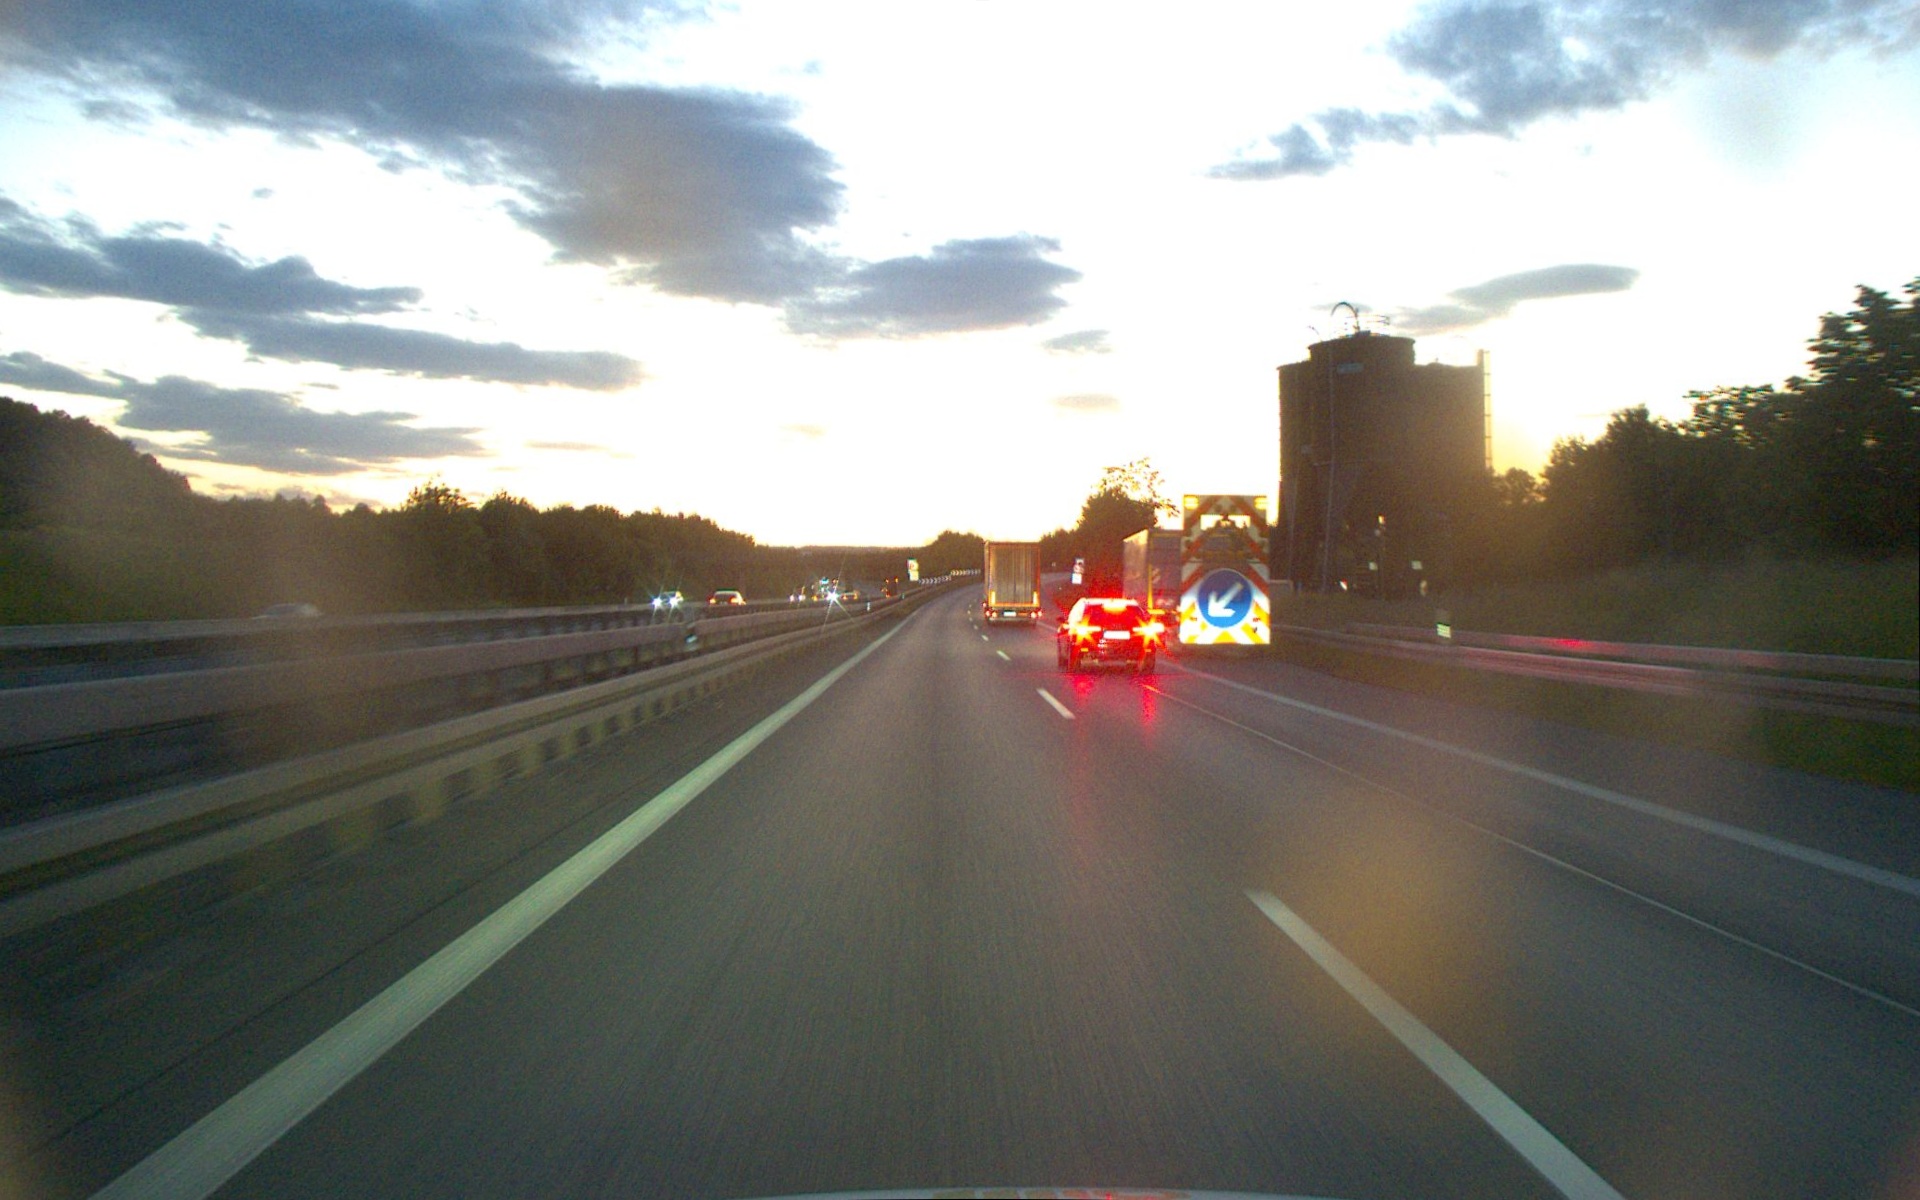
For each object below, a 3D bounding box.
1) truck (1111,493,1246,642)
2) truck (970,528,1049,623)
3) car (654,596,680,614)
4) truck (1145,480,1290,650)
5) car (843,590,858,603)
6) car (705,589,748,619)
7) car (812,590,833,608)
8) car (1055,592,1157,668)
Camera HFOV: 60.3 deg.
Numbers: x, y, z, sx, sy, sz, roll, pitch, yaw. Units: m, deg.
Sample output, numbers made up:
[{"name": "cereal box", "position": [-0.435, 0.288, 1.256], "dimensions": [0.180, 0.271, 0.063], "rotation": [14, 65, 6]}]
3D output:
[{"name": "truck", "position": [6.598, -0.948, 51.317], "dimensions": [2.854, 4.183, 9.148], "rotation": [0, 0, -1]}, {"name": "truck", "position": [2.386, -1.175, 83.778], "dimensions": [3.439, 4.376, 9.889], "rotation": [-2, 0, -1]}, {"name": "car", "position": [-26.045, 0.422, 147.036], "dimensions": [1.634, 1.520, 3.673], "rotation": [0, 0, -1]}, {"name": "truck", "position": [6.648, -0.876, 43.537], "dimensions": [2.731, 4.129, 6.410], "rotation": [0, 0, -1]}, {"name": "car", "position": [-13.562, -0.387, 205.601], "dimensions": [1.604, 1.573, 3.394], "rotation": [-2, 0, 0]}, {"name": "car", "position": [-13.229, 0.210, 93.951], "dimensions": [1.834, 1.588, 4.519], "rotation": [-2, 0, -1]}, {"name": "car", "position": [-13.622, -0.104, 163.911], "dimensions": [1.678, 1.633, 3.721], "rotation": [-2, 0, -1]}, {"name": "car", "position": [2.974, 0.584, 34.489], "dimensions": [1.875, 1.467, 4.001], "rotation": [-1, 0, 2]}]
